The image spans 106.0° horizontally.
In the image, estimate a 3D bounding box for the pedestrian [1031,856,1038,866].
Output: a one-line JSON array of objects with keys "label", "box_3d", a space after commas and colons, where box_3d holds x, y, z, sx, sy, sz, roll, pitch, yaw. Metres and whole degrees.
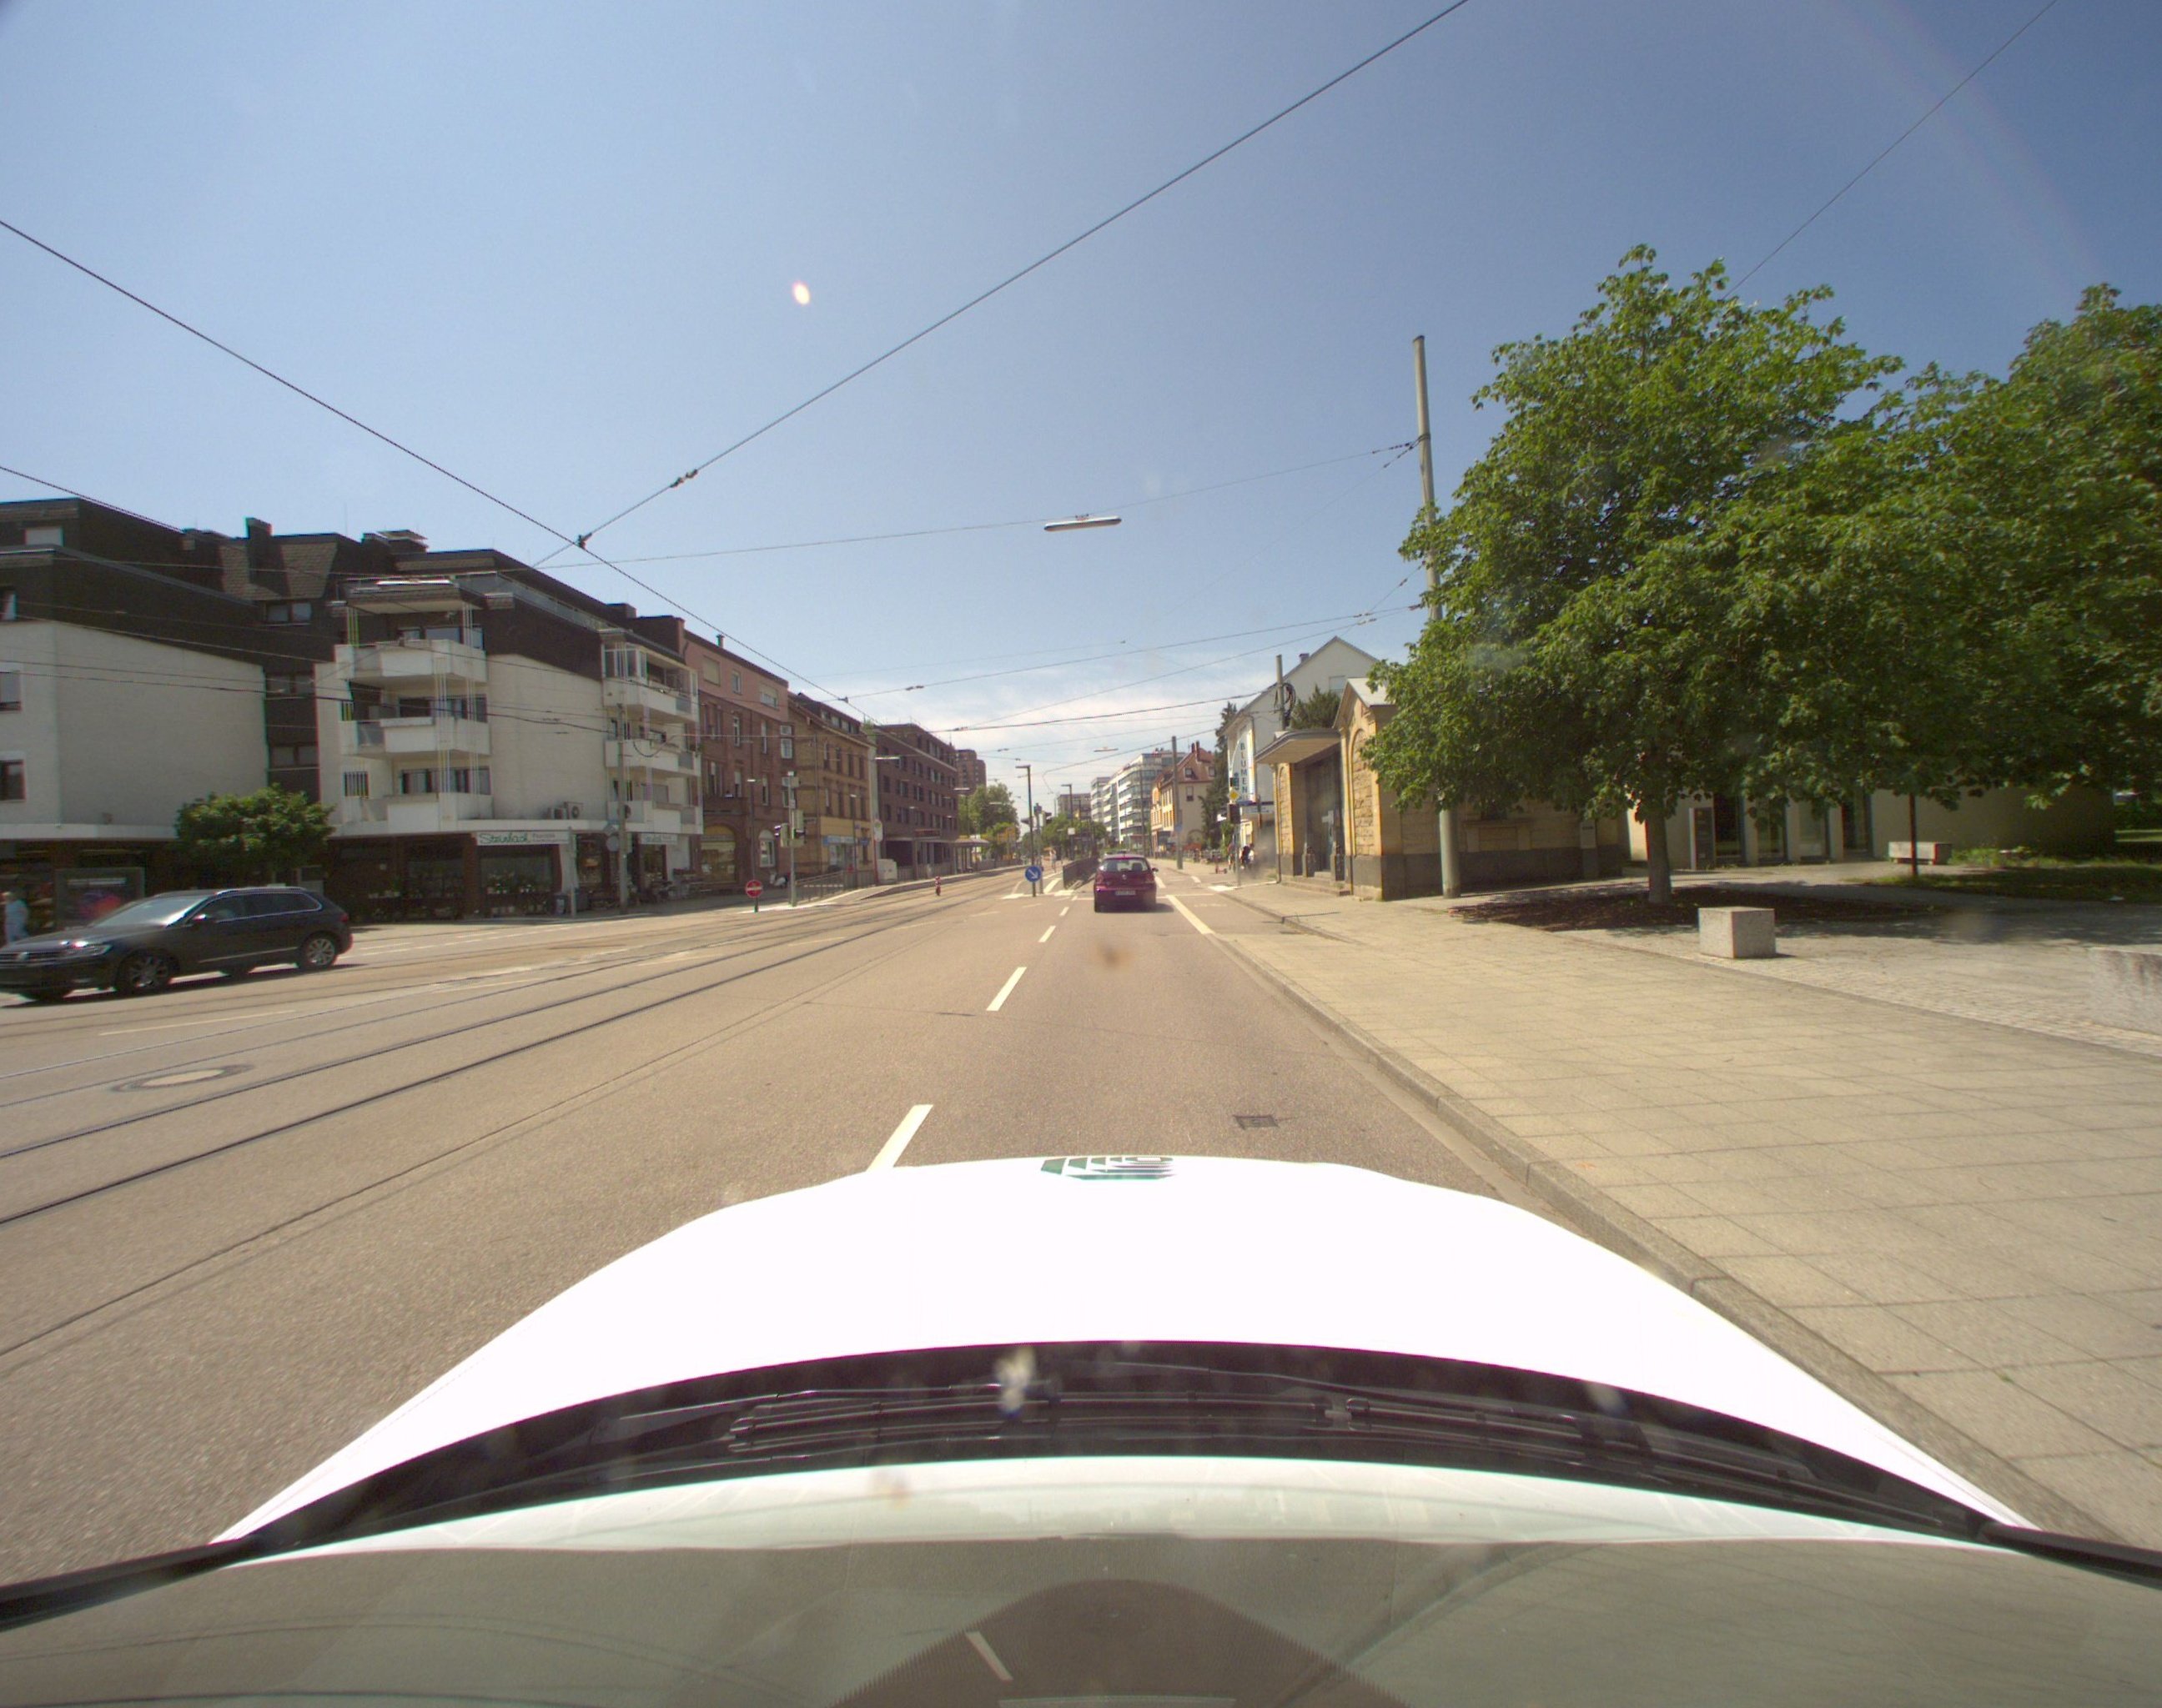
[{"label": "pedestrian", "box_3d": [-8.912, 1.349, 156.358, 1.105, 2.013, 1.039, -2, -1, 3]}]

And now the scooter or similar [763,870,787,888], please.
[{"label": "scooter or similar", "box_3d": [-19.641, 1.609, 52.238, 0.484, 1.082, 1.585, -3, 0, 19]}]

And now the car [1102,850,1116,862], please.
[{"label": "car", "box_3d": [4.354, 0.334, 129.173, 1.987, 1.848, 3.999, -3, 0, 0]}]

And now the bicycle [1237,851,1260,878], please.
[{"label": "bicycle", "box_3d": [7.066, 0.423, 34.418, 0.665, 1.002, 1.866, -7, 1, 5]}]

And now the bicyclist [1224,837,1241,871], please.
[{"label": "bicyclist", "box_3d": [8.123, -0.026, 43.626, 0.722, 1.760, 0.927, -3, 0, 14]}]

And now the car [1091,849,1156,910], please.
[{"label": "car", "box_3d": [1.112, 0.634, 21.813, 1.555, 1.453, 3.063, -3, 0, 2]}]

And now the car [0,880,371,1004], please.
[{"label": "car", "box_3d": [-15.452, 1.388, 14.278, 1.786, 1.579, 4.500, -3, 0, 4]}]

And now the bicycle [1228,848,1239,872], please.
[{"label": "bicycle", "box_3d": [8.143, 0.301, 43.393, 0.372, 1.197, 1.913, -3, 0, 14]}]

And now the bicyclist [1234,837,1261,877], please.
[{"label": "bicyclist", "box_3d": [7.058, 0.122, 34.521, 0.828, 1.618, 0.861, -7, 0, 4]}]

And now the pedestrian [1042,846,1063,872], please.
[{"label": "pedestrian", "box_3d": [-1.928, 0.354, 54.752, 1.102, 1.674, 0.759, -2, 0, -24]}]

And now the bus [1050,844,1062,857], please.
[{"label": "bus", "box_3d": [-6.028, -0.757, 195.836, 2.143, 3.003, 6.556, -3, 0, -7]}]

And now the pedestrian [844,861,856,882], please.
[{"label": "pedestrian", "box_3d": [-17.635, 1.319, 62.136, 0.612, 1.560, 0.640, -3, 0, 2]}]

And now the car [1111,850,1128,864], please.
[{"label": "car", "box_3d": [4.806, 0.317, 101.501, 1.986, 1.624, 4.634, -3, 0, 2]}]

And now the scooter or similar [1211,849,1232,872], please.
[{"label": "scooter or similar", "box_3d": [7.519, 0.355, 43.638, 0.340, 1.178, 1.457, -2, 0, -21]}]

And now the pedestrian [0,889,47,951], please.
[{"label": "pedestrian", "box_3d": [-30.605, 1.890, 23.502, 0.692, 1.696, 0.813, -3, 0, 31]}]
